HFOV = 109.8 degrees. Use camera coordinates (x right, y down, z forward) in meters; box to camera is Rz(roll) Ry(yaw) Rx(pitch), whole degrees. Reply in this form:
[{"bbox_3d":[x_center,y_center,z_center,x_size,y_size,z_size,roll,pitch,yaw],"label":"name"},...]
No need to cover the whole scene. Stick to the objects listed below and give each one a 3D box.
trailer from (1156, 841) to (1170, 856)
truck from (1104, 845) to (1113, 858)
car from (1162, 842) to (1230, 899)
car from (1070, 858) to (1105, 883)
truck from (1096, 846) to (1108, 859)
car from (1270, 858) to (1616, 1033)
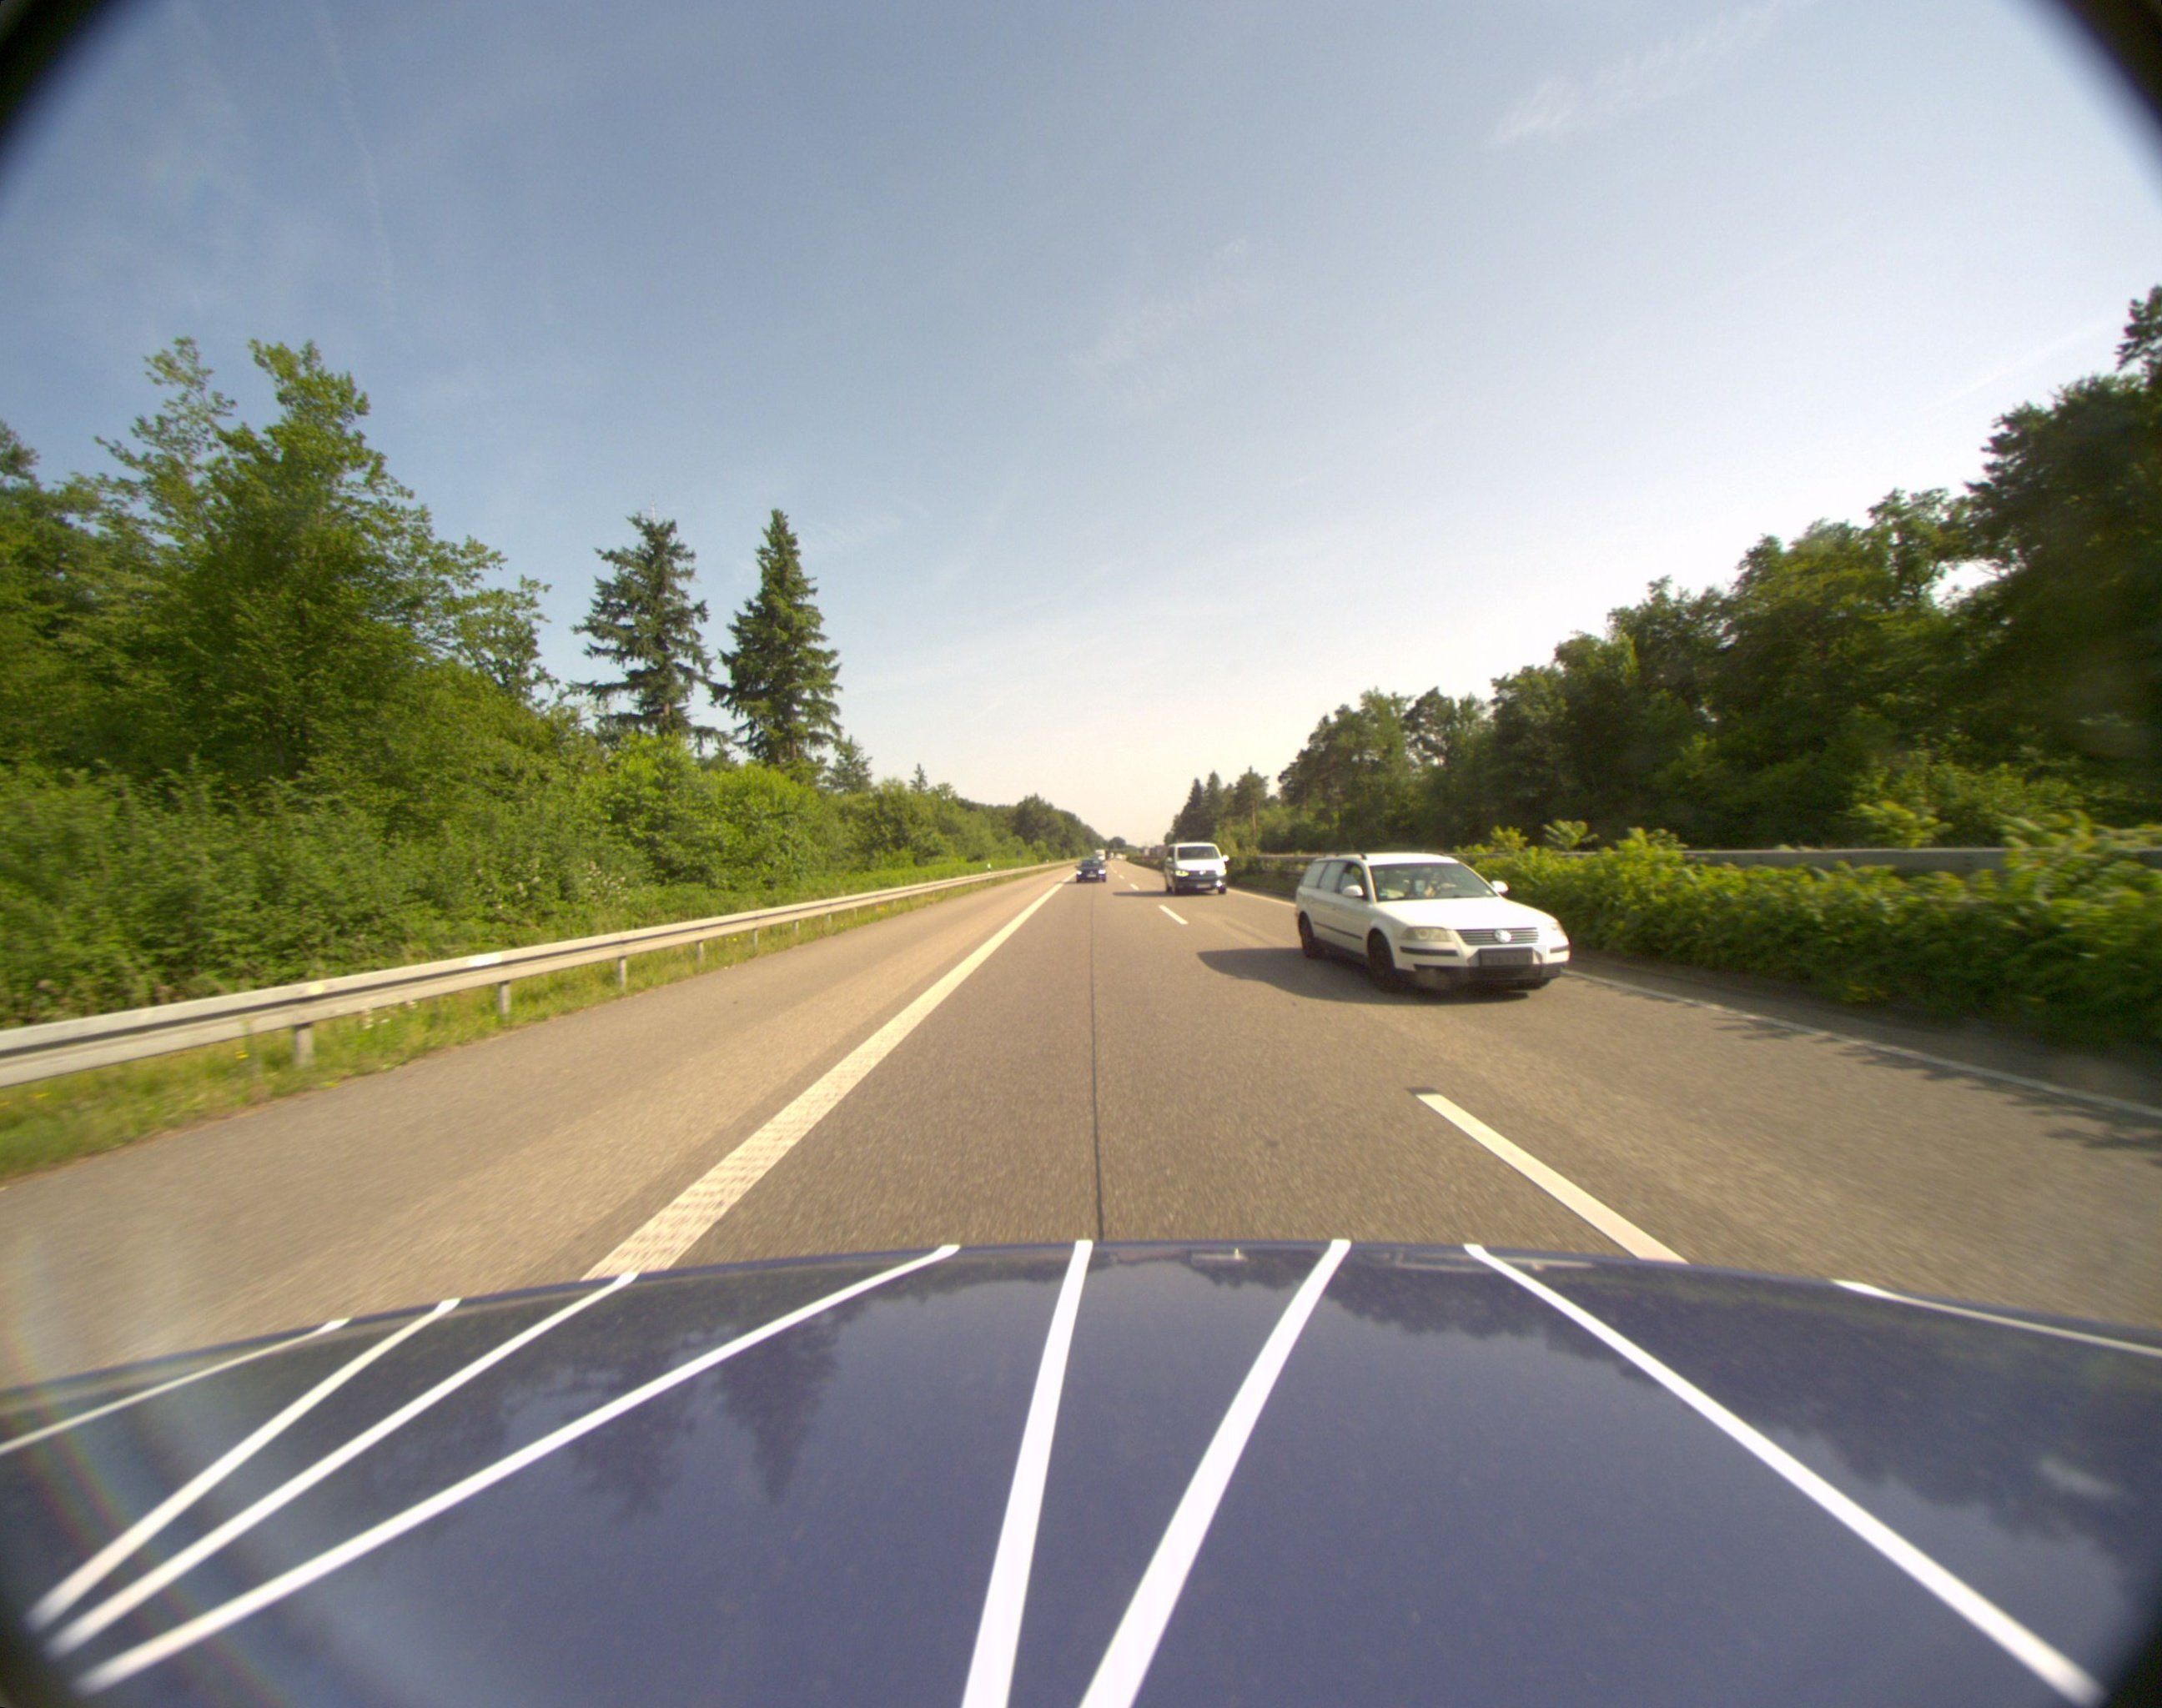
[{"bbox_3d":[22.709,-1.476,210.413,2.839,4.184,12.412,-1,0,1],"label":"trailer"},{"bbox_3d":[9.189,-0.745,253.355,2.694,4.061,12.366,-2,0,2],"label":"truck"},{"bbox_3d":[4.328,0.585,29.289,1.912,1.934,4.706,-2,0,1],"label":"car"},{"bbox_3d":[0.402,0.920,43.418,1.788,1.285,3.539,-2,0,3],"label":"car"},{"bbox_3d":[5.360,-0.377,193.950,2.694,3.020,10.373,-2,0,2],"label":"truck"},{"bbox_3d":[3.921,0.834,9.476,1.754,1.477,5.263,-2,0,0],"label":"car"}]
